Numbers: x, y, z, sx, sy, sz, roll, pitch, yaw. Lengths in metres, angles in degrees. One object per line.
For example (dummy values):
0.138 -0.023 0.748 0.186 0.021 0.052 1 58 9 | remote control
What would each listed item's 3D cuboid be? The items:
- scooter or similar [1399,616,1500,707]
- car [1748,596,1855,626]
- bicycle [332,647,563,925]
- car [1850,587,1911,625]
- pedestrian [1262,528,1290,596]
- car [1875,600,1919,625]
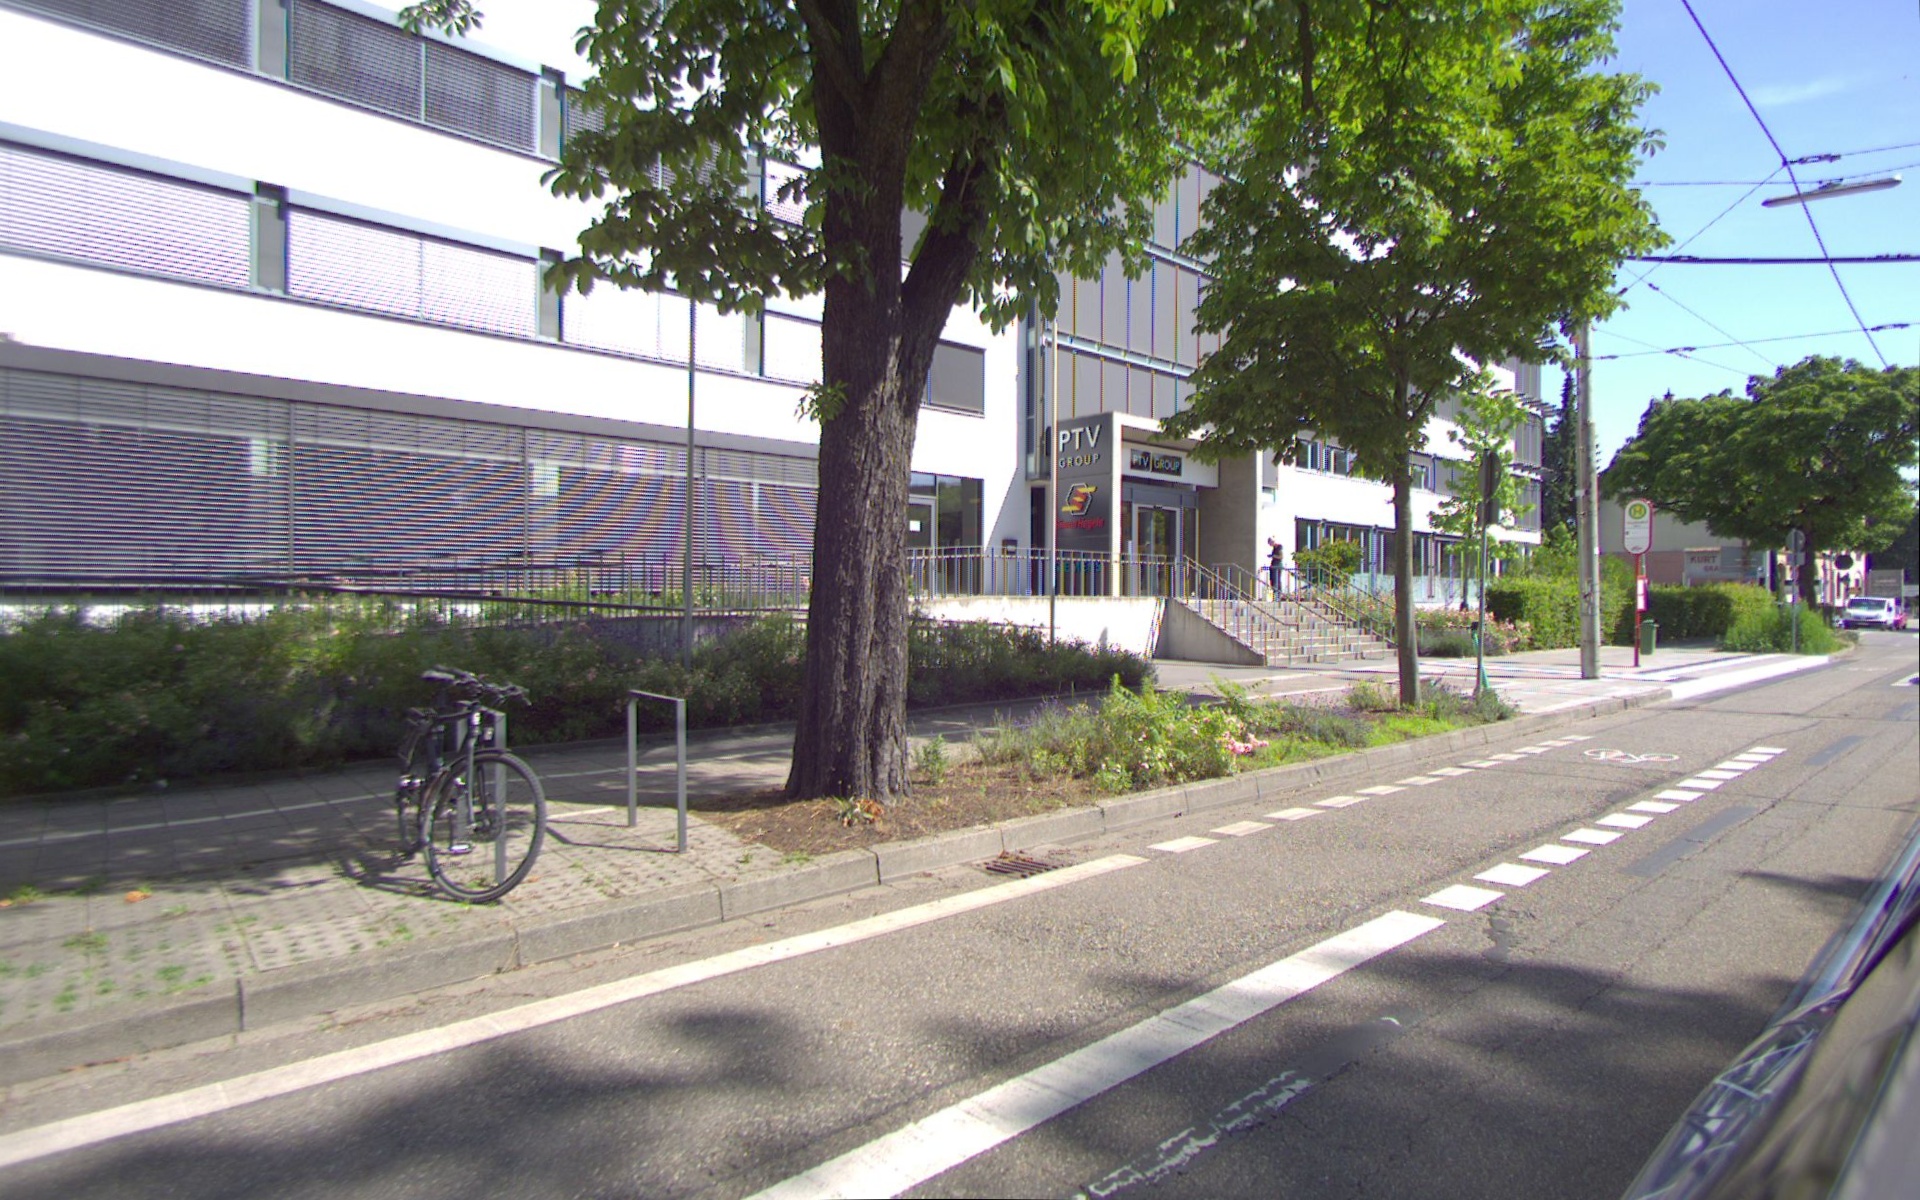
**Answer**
6.675 0.810 13.833 0.484 1.169 1.146 0 -1 -35 | scooter or similar
40.551 0.504 48.820 1.642 1.406 3.752 0 0 -40 | car
-2.692 0.841 5.218 0.586 1.096 1.776 0 0 -43 | bicycle
53.406 0.290 58.667 5.100 2.080 1.980 0 2 -41 | car
8.209 -0.972 26.304 0.537 1.750 0.499 0 -1 -42 | pedestrian
58.422 0.757 62.910 4.237 1.461 1.725 0 2 -41 | car
